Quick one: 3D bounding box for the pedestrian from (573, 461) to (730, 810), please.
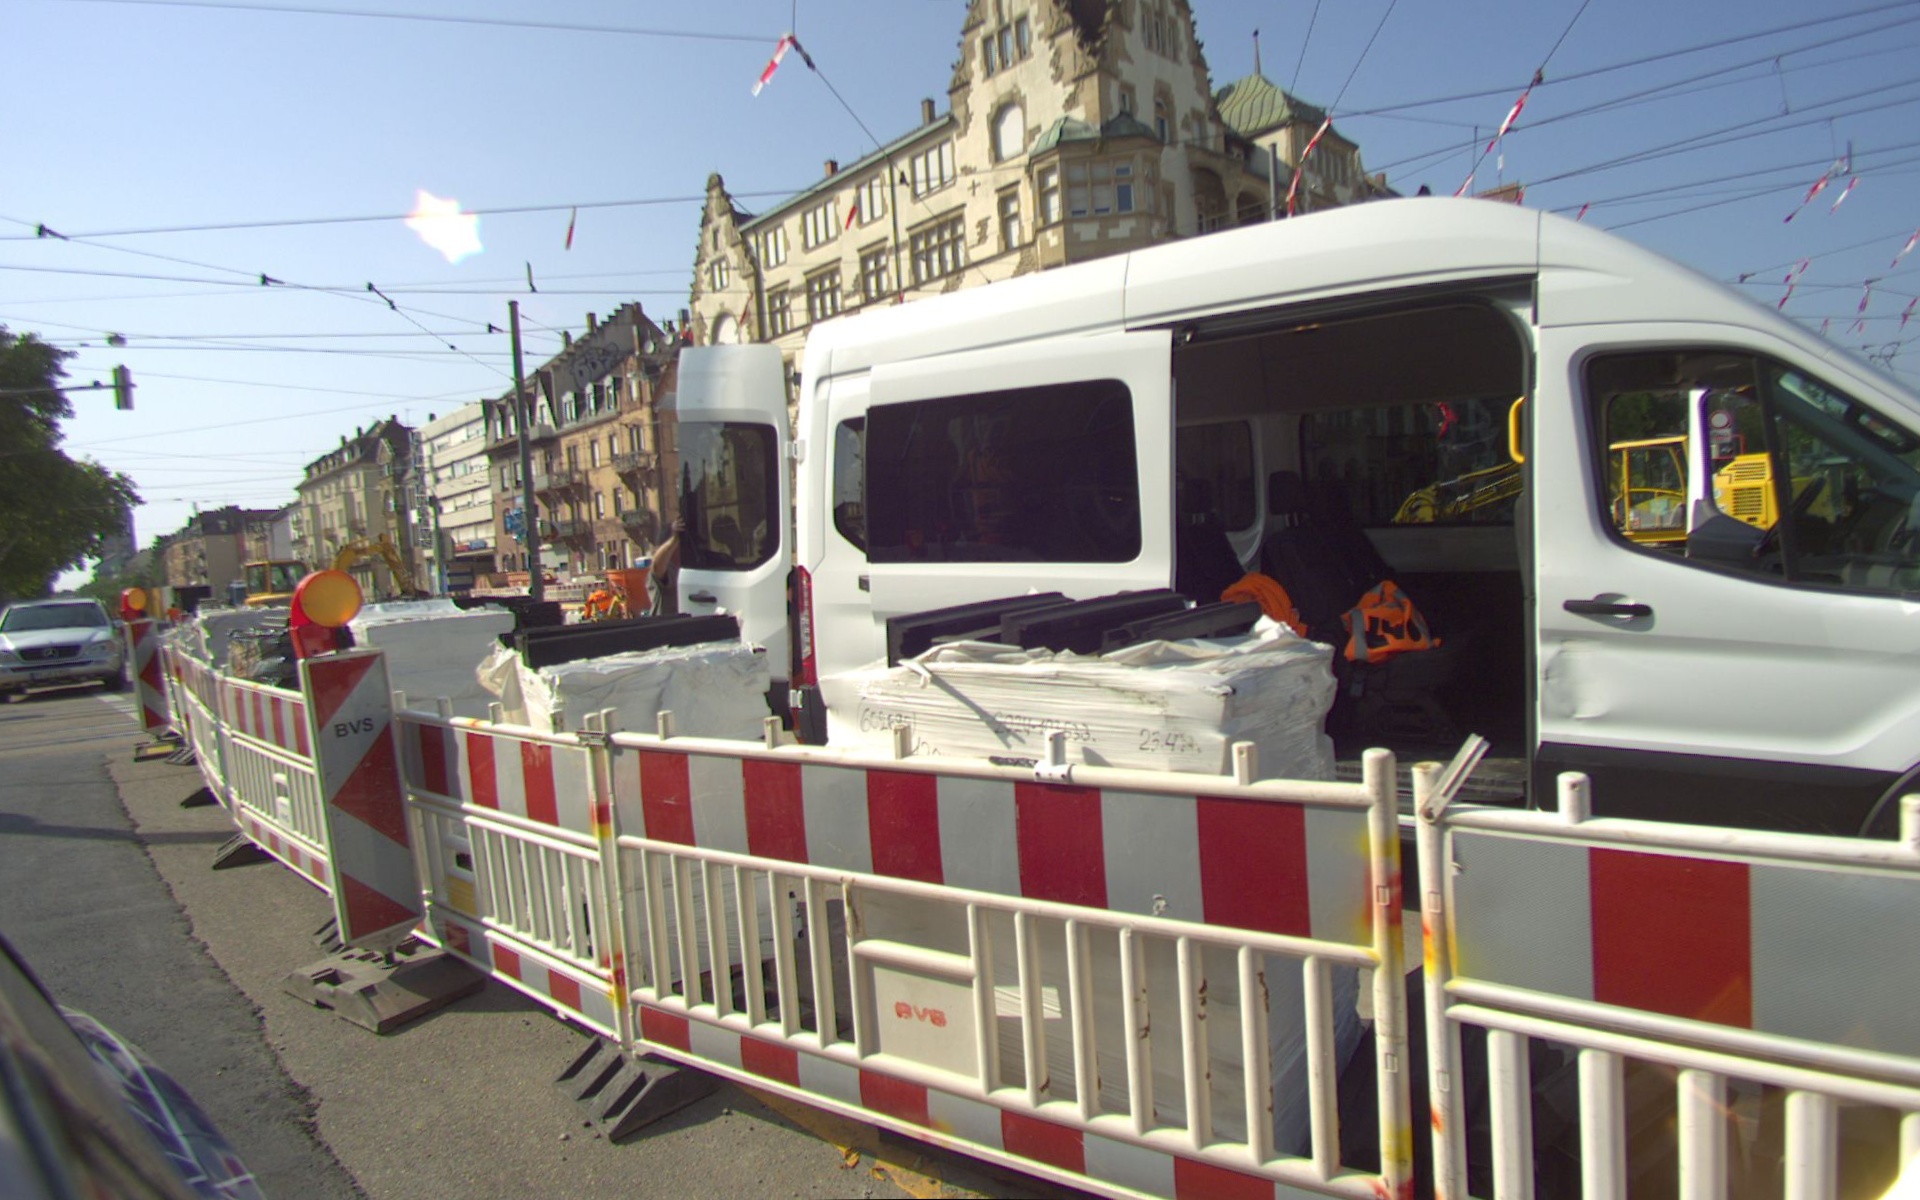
[{"bbox_3d":[-1.929,0.195,6.471,0.724,2.028,0.909,-4,2,-10],"label":"pedestrian"}]

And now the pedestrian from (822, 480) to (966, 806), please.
[{"bbox_3d":[-0.473,0.258,6.912,0.724,2.028,0.909,-4,2,-12],"label":"pedestrian"}]

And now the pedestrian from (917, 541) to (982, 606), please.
[{"bbox_3d":[-0.251,-0.647,24.257,1.129,1.452,0.918,-6,3,-43],"label":"pedestrian"}]

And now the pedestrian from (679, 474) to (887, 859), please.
[{"bbox_3d":[-1.043,0.334,5.900,0.724,2.028,0.909,-5,2,-37],"label":"pedestrian"}]

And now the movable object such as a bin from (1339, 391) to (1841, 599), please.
[{"bbox_3d":[12.617,-1.873,21.123,2.813,3.354,8.356,-6,3,-42],"label":"movable object such as a bin"}]

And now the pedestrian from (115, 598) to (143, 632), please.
[{"bbox_3d":[-53.694,0.947,65.382,0.896,2.027,0.915,-6,4,-17],"label":"pedestrian"}]

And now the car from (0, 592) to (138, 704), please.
[{"bbox_3d":[-16.982,0.840,18.963,1.971,1.708,5.230,-6,3,-43],"label":"car"}]

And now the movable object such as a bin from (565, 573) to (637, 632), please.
[{"bbox_3d":[-7.826,0.066,21.972,0.740,1.178,2.296,-6,3,-36],"label":"movable object such as a bin"}]

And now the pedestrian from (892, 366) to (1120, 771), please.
[{"bbox_3d":[0.245,-0.172,5.632,0.725,2.028,0.909,-5,2,-38],"label":"pedestrian"}]

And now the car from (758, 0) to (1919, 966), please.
[{"bbox_3d":[1.842,-0.447,4.338,5.158,2.749,2.206,-3,3,35],"label":"car"}]

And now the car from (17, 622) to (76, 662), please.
[{"bbox_3d":[-46.240,2.110,51.193,1.971,1.708,5.230,-6,3,-43],"label":"car"}]

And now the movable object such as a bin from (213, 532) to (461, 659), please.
[{"bbox_3d":[-18.960,-0.278,31.262,2.106,3.369,6.110,-3,3,27],"label":"movable object such as a bin"}]

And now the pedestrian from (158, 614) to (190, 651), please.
[{"bbox_3d":[-39.715,1.630,51.137,1.020,1.723,1.096,-6,3,-45],"label":"pedestrian"}]

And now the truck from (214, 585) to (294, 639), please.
[{"bbox_3d":[-33.427,0.557,47.814,2.132,2.238,7.059,-6,3,-42],"label":"truck"}]
